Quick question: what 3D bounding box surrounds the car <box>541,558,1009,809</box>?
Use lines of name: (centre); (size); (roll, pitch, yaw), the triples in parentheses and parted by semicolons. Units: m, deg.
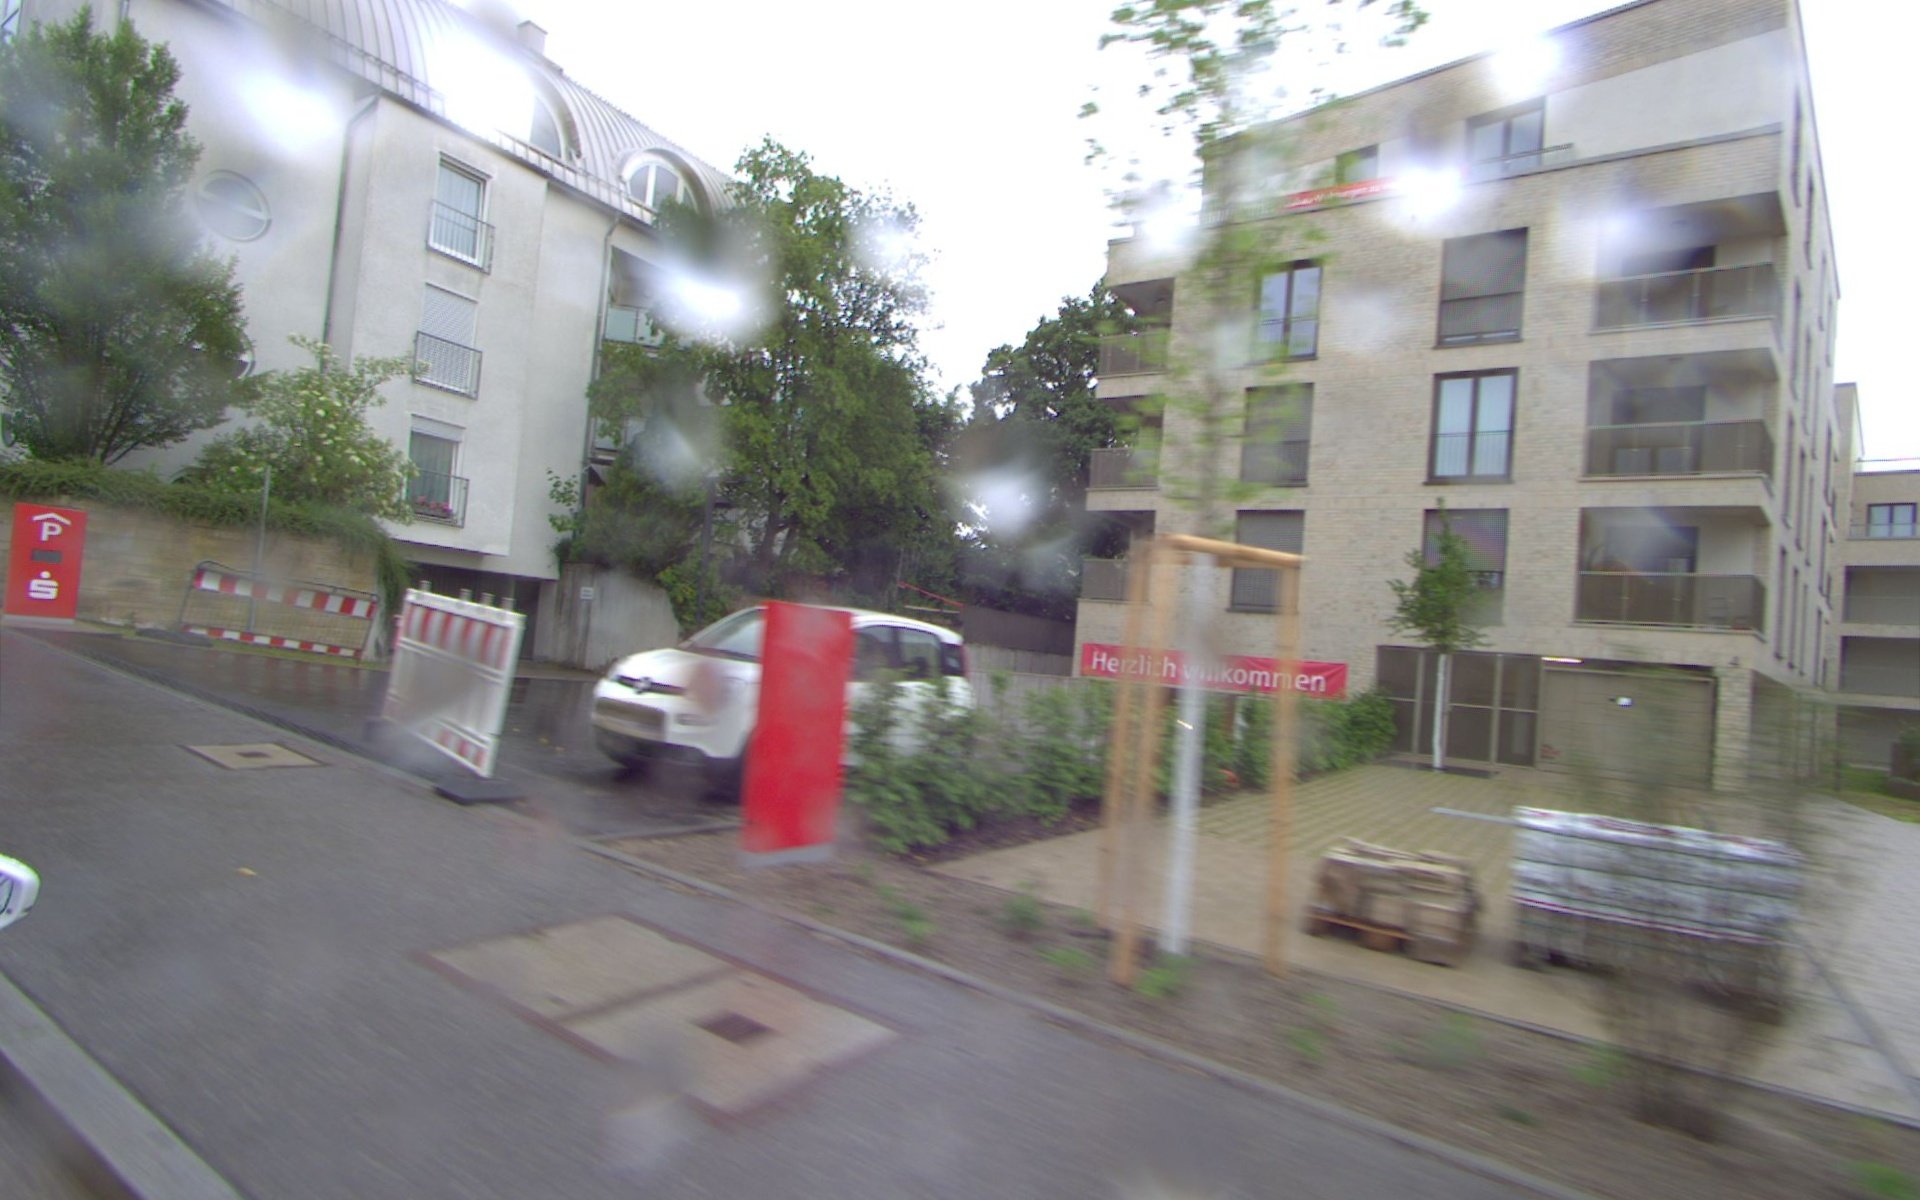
car: (-1.334, 0.737, 8.604); (1.748, 1.520, 3.674); (7, -3, 33)
